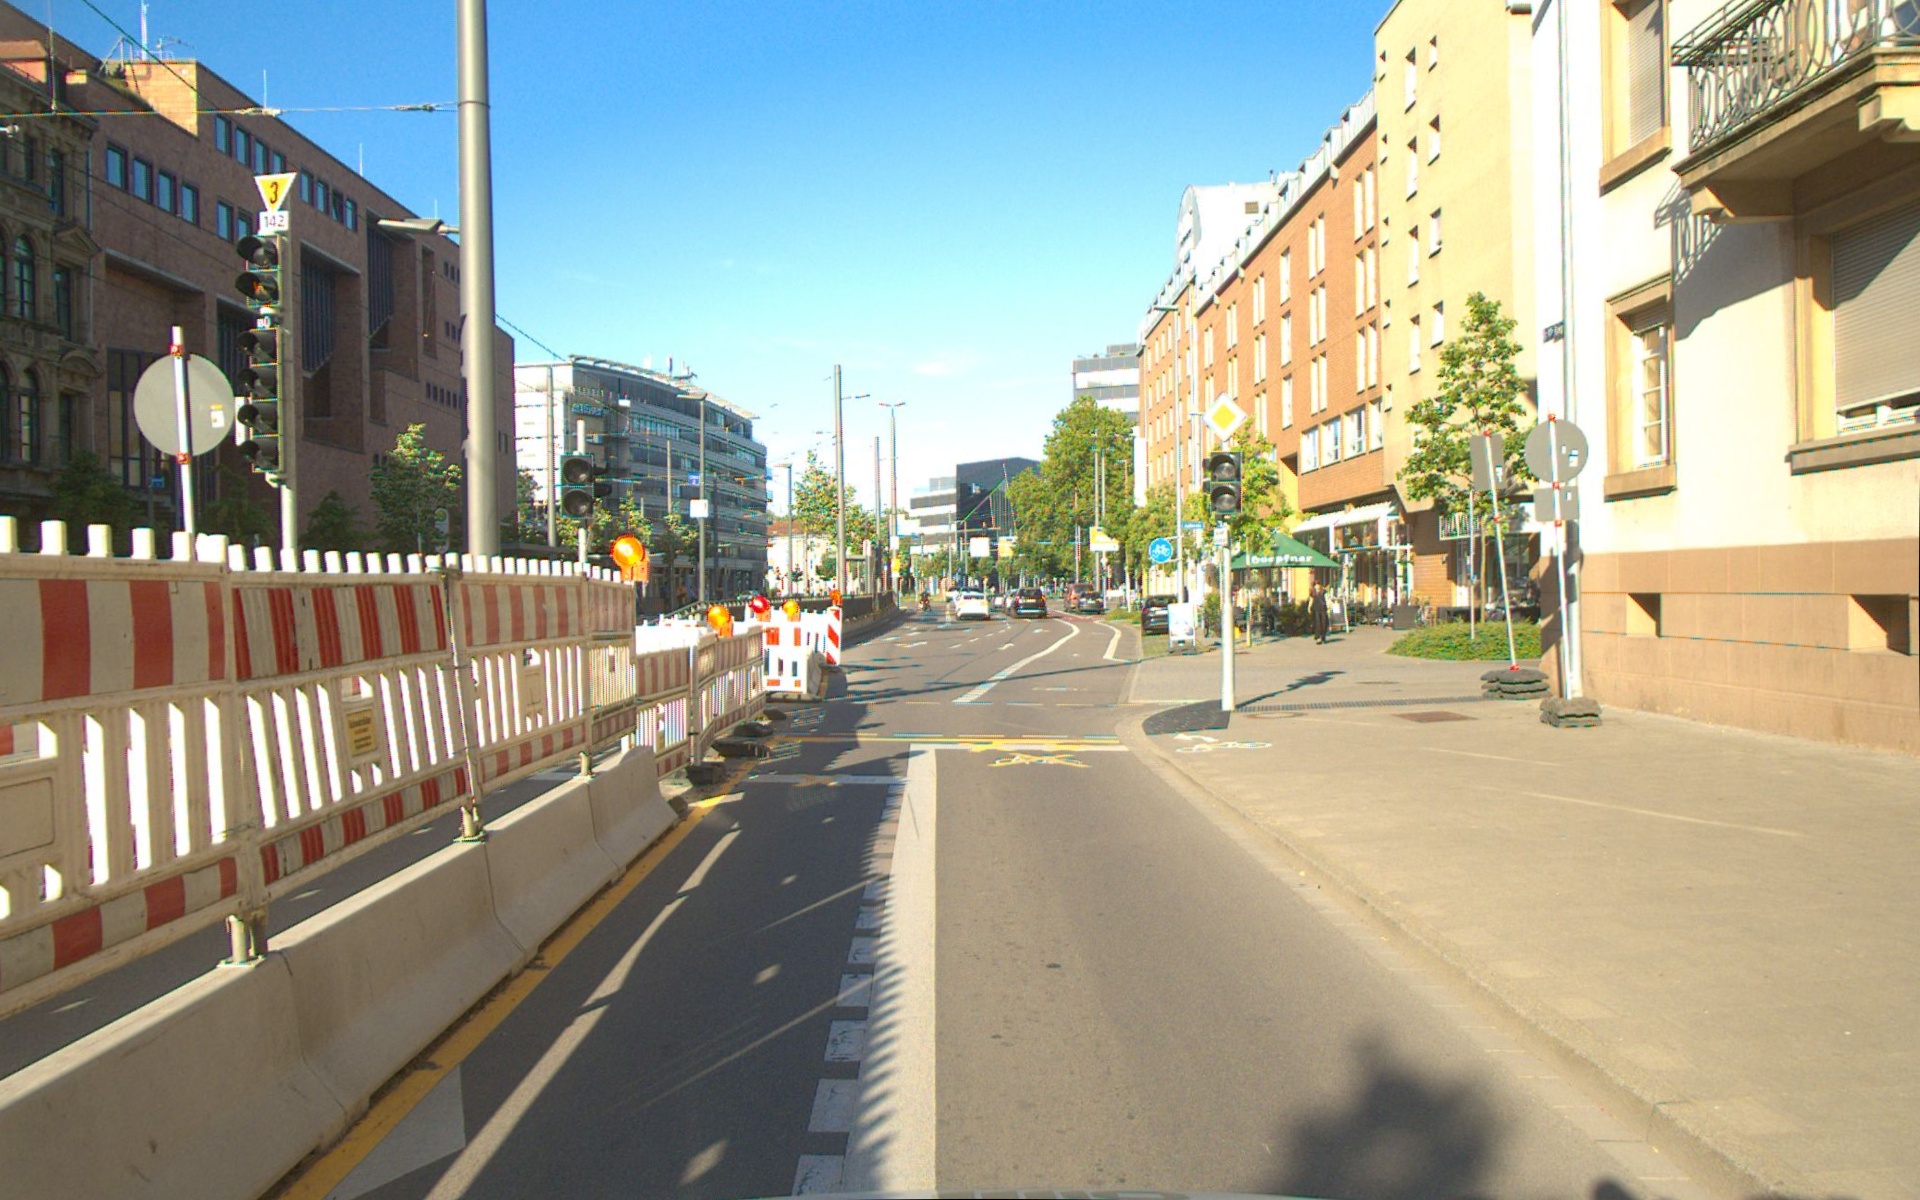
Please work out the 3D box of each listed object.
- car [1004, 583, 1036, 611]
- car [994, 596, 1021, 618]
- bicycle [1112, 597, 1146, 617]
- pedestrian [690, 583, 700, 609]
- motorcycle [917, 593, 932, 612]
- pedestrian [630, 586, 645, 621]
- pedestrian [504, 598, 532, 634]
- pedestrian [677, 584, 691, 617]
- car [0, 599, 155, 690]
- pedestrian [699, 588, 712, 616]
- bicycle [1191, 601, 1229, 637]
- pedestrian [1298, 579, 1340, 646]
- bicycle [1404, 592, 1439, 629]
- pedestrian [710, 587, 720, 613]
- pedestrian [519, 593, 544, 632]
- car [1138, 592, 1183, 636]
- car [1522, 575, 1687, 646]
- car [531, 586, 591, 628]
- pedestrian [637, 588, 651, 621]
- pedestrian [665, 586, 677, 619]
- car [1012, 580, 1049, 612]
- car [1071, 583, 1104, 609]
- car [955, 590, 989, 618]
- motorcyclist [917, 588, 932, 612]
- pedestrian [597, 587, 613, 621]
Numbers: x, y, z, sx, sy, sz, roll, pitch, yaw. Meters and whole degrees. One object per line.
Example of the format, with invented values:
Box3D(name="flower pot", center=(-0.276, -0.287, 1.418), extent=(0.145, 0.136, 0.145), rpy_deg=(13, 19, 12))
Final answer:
Box3D(name="car", center=(3.704, -0.197, 102.805), extent=(1.813, 1.668, 4.378), rpy_deg=(0, 0, -1))
Box3D(name="car", center=(3.407, 0.503, 120.024), extent=(1.813, 1.524, 4.378), rpy_deg=(0, 1, -1))
Box3D(name="bicycle", center=(9.932, 0.423, 96.955), extent=(1.903, 1.094, 0.555), rpy_deg=(-2, -1, 10))
Box3D(name="pedestrian", center=(-16.766, -0.233, 104.610), extent=(0.552, 1.637, 0.616), rpy_deg=(0, 0, 0))
Box3D(name="motorcycle", center=(-2.469, 0.173, 115.221), extent=(0.998, 1.335, 2.914), rpy_deg=(1, 0, 0))
Box3D(name="pedestrian", center=(-16.028, 0.189, 82.244), extent=(0.610, 1.744, 0.616), rpy_deg=(0, 0, 0))
Box3D(name="pedestrian", center=(-14.846, 0.531, 55.578), extent=(0.706, 1.188, 0.721), rpy_deg=(-3, 0, -1))
Box3D(name="pedestrian", center=(-14.807, 0.014, 88.650), extent=(0.627, 1.725, 0.541), rpy_deg=(1, 0, 0))
Box3D(name="car", center=(-17.915, 0.824, 32.743), extent=(1.759, 1.668, 4.476), rpy_deg=(-1, 0, 0))
Box3D(name="pedestrian", center=(-15.442, 0.140, 100.277), extent=(0.627, 1.672, 0.945), rpy_deg=(1, 0, 0))
Box3D(name="bicycle", center=(8.504, 0.652, 56.291), extent=(0.750, 1.100, 1.996), rpy_deg=(-6, -1, -4))
Box3D(name="pedestrian", center=(9.849, 0.342, 45.357), extent=(0.866, 1.794, 1.105), rpy_deg=(-3, -1, 21))
Box3D(name="bicycle", center=(15.353, 0.345, 55.048), extent=(0.601, 1.190, 1.536), rpy_deg=(-2, 0, -4))
Box3D(name="pedestrian", center=(-17.716, 0.008, 119.618), extent=(0.601, 1.849, 0.897), rpy_deg=(0, 0, 0))
Box3D(name="pedestrian", center=(-14.931, 0.441, 57.616), extent=(0.633, 1.331, 0.721), rpy_deg=(-3, 0, 0))
Box3D(name="car", center=(7.997, 0.547, 66.217), extent=(1.684, 1.665, 4.234), rpy_deg=(-2, 0, 6))
Box3D(name="car", center=(14.442, 0.205, 37.270), extent=(1.633, 1.500, 3.825), rpy_deg=(1, 0, -12))
Box3D(name="car", center=(-18.814, 0.315, 78.154), extent=(1.954, 1.913, 4.580), rpy_deg=(0, 0, -4))
Box3D(name="pedestrian", center=(-15.917, 0.222, 83.265), extent=(0.610, 1.640, 0.616), rpy_deg=(0, 0, 0))
Box3D(name="pedestrian", center=(-15.789, 0.125, 90.299), extent=(0.570, 1.768, 0.616), rpy_deg=(0, 0, 0))
Box3D(name="car", center=(4.022, -0.235, 95.253), extent=(1.934, 1.790, 4.632), rpy_deg=(1, 0, 0))
Box3D(name="car", center=(8.250, -0.262, 107.346), extent=(1.809, 1.588, 4.632), rpy_deg=(1, 0, 0))
Box3D(name="car", center=(0.625, 0.203, 89.601), extent=(1.744, 1.439, 4.818), rpy_deg=(1, 0, -1))
Box3D(name="motorcyclist", center=(-2.473, -0.004, 115.209), extent=(0.998, 1.631, 1.148), rpy_deg=(1, 0, 0))
Box3D(name="pedestrian", center=(-15.871, 0.174, 73.930), extent=(0.528, 1.485, 0.642), rpy_deg=(1, 0, 0))
